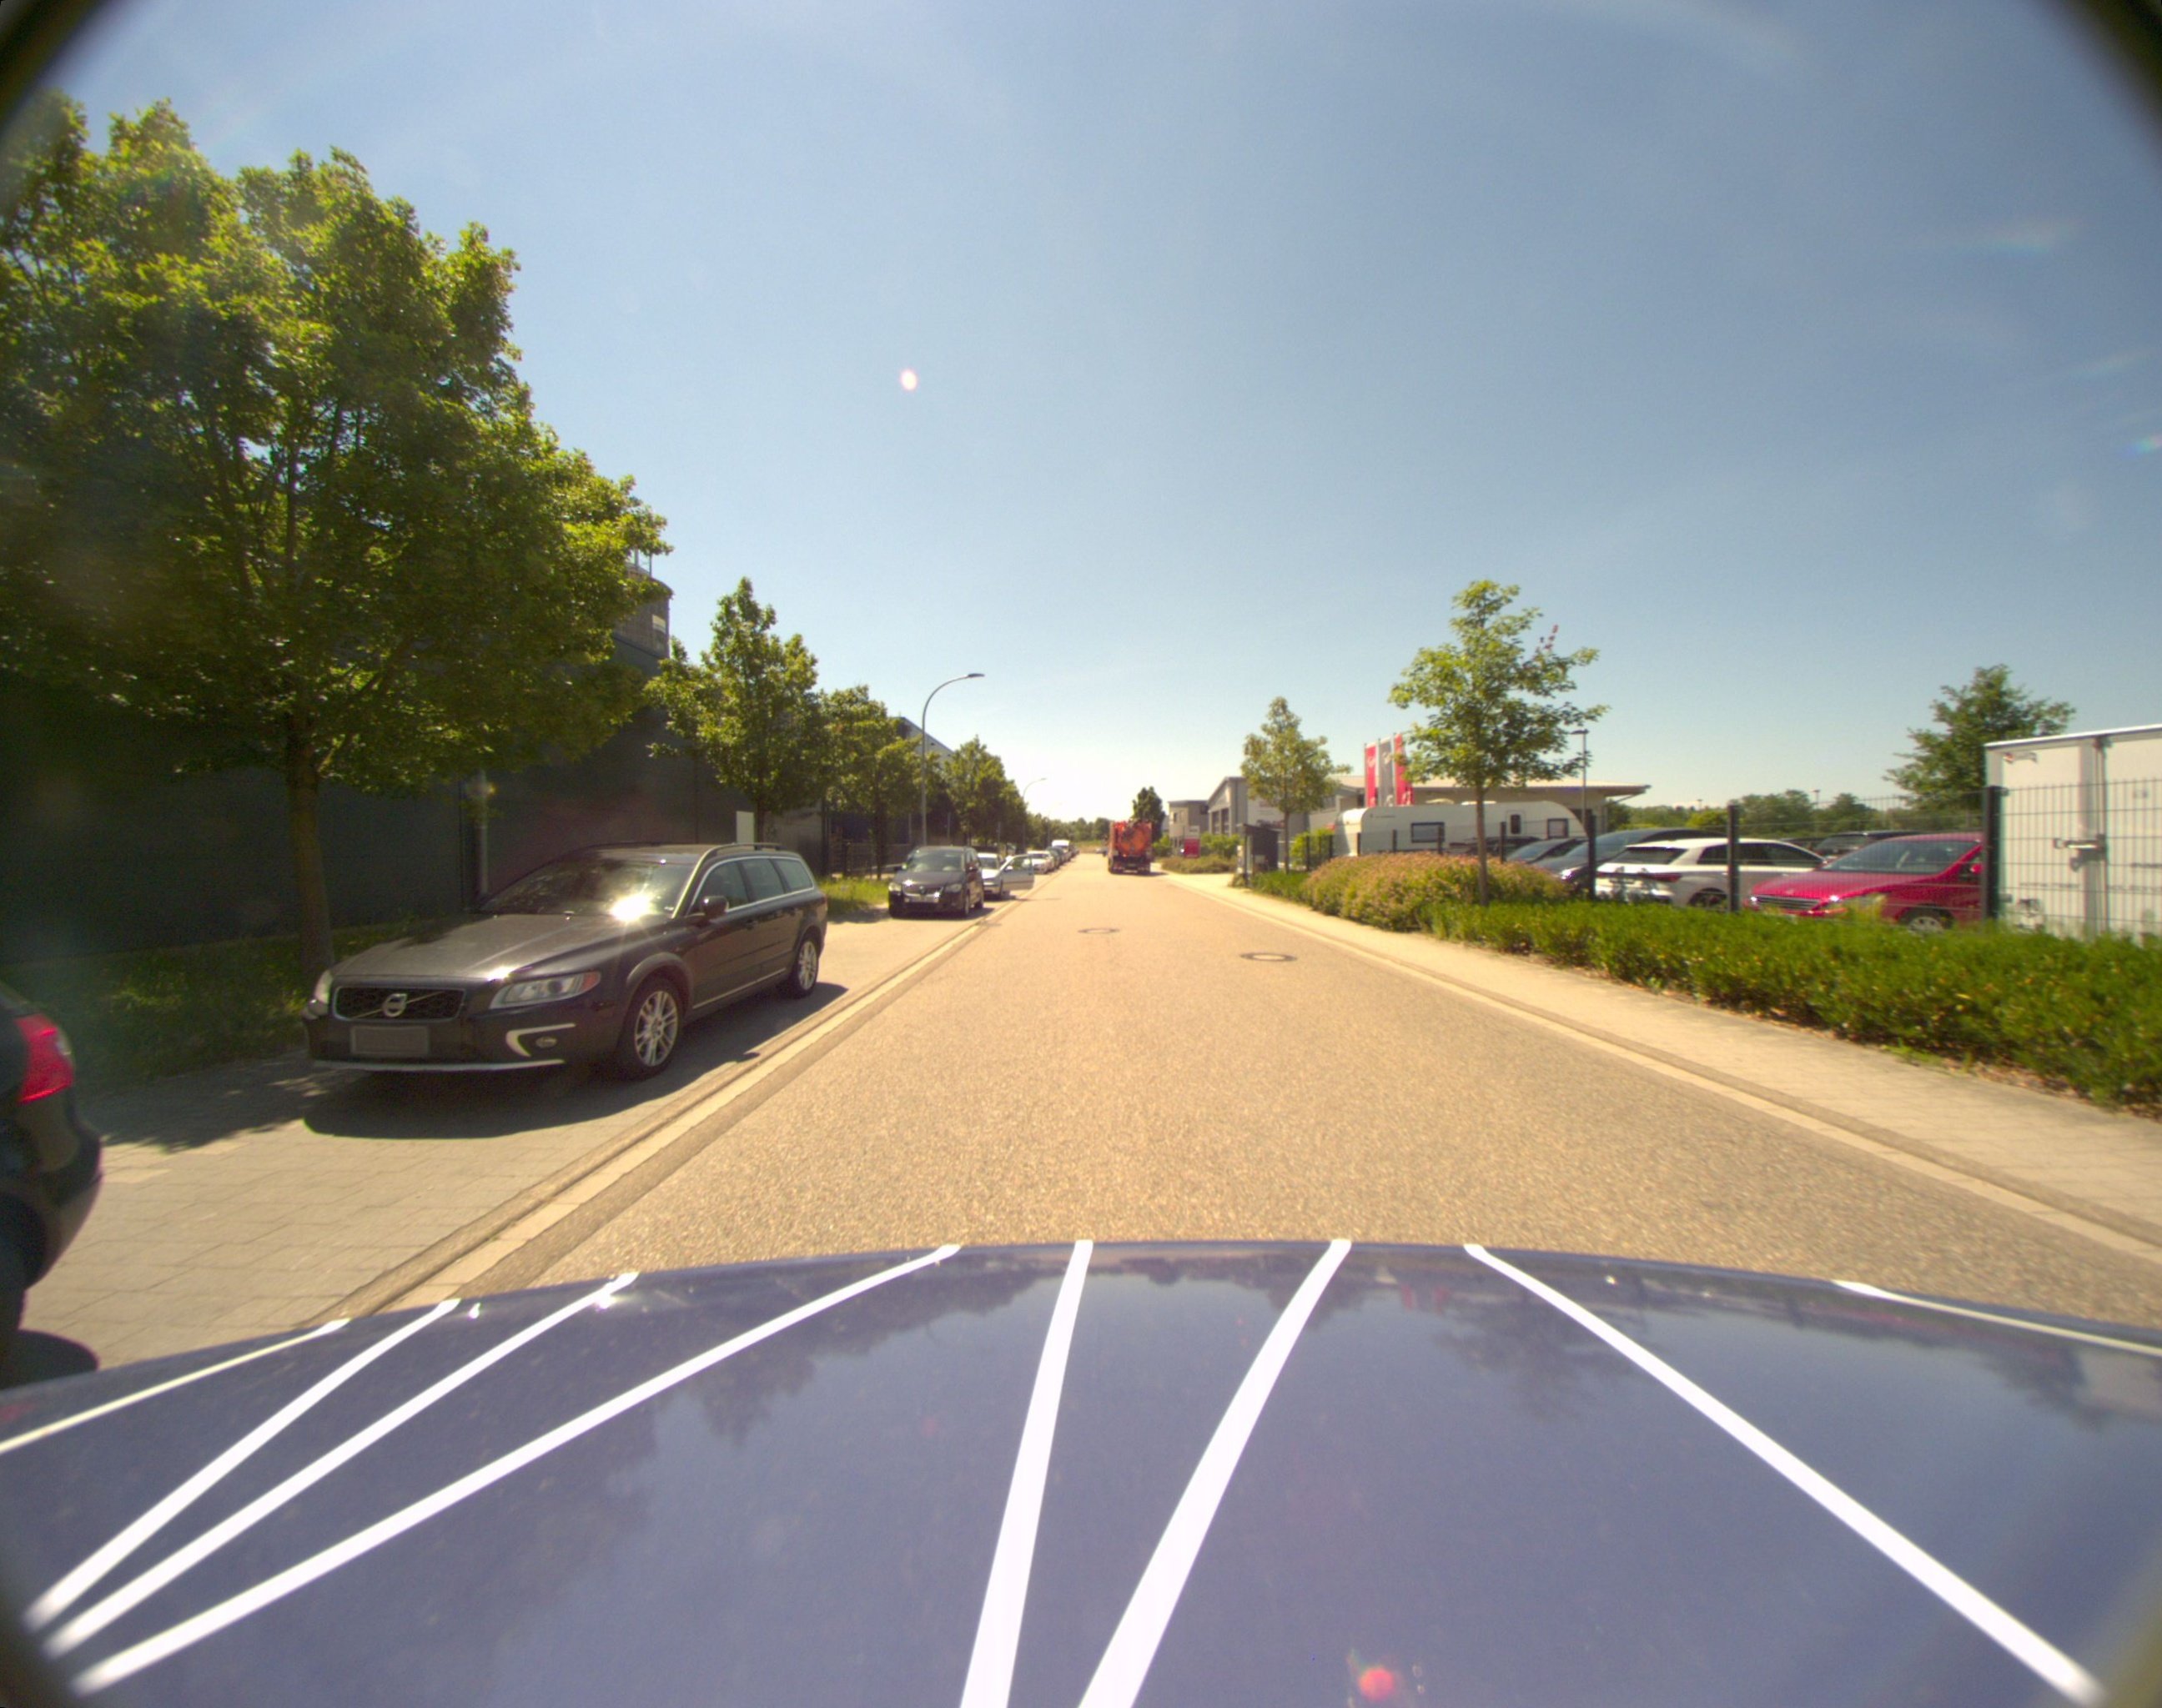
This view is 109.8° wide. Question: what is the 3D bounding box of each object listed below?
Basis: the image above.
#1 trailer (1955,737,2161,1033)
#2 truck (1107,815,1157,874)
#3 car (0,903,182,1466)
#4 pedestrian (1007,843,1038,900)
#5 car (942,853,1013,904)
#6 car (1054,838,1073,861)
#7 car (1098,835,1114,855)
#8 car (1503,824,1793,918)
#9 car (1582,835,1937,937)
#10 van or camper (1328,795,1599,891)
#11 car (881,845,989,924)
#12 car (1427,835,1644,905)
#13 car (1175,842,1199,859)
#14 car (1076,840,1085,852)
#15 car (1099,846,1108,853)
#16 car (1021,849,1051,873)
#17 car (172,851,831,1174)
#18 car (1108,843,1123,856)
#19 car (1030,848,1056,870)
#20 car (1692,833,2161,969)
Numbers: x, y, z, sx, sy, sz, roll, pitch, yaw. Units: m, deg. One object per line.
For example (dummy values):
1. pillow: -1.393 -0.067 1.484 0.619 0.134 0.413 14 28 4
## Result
1. trailer: 10.531 0.162 6.596 3.998 2.346 1.726 -2 1 -2
2. truck: 3.231 -0.608 51.043 2.606 3.524 10.499 1 1 0
3. car: -3.722 0.905 0.284 1.696 1.468 4.268 1 1 0
4. pedestrian: -1.919 0.553 24.819 0.722 1.799 0.703 -2 1 -36
5. car: -3.239 0.708 24.536 1.711 1.449 4.188 1 1 0
6. car: -2.049 -0.521 89.871 2.060 2.683 4.834 0 1 0
7. car: 3.983 -1.434 122.478 2.600 3.213 6.221 0 1 1
8. car: 11.024 0.290 14.943 4.522 1.656 1.776 -1 1 -5
9. car: 10.724 0.469 12.227 4.218 1.444 1.776 -1 1 -2
10. van or camper: 11.223 -0.326 22.785 6.792 2.668 2.575 0 1 1
11. car: -3.382 0.634 18.375 1.742 1.660 4.367 1 1 0
12. car: 11.524 0.385 19.466 4.520 1.656 1.777 -1 1 0
13. car: 10.595 -0.365 76.117 1.998 1.674 4.000 0 1 1
14. car: -0.151 -1.772 167.168 2.060 2.683 4.834 0 1 0
15. car: 5.118 -1.016 170.617 1.867 1.674 4.222 0 1 0
16. car: -2.939 0.414 50.173 1.736 1.501 3.665 1 1 0
17. car: -3.752 0.809 6.263 1.812 1.608 4.714 1 1 0
18. car: 4.547 -0.558 100.914 1.998 1.674 4.000 0 1 1
19. car: -2.736 0.357 55.250 1.736 1.501 3.844 0 1 0
20. car: 10.518 0.510 9.479 4.217 1.444 1.999 -1 1 -1
